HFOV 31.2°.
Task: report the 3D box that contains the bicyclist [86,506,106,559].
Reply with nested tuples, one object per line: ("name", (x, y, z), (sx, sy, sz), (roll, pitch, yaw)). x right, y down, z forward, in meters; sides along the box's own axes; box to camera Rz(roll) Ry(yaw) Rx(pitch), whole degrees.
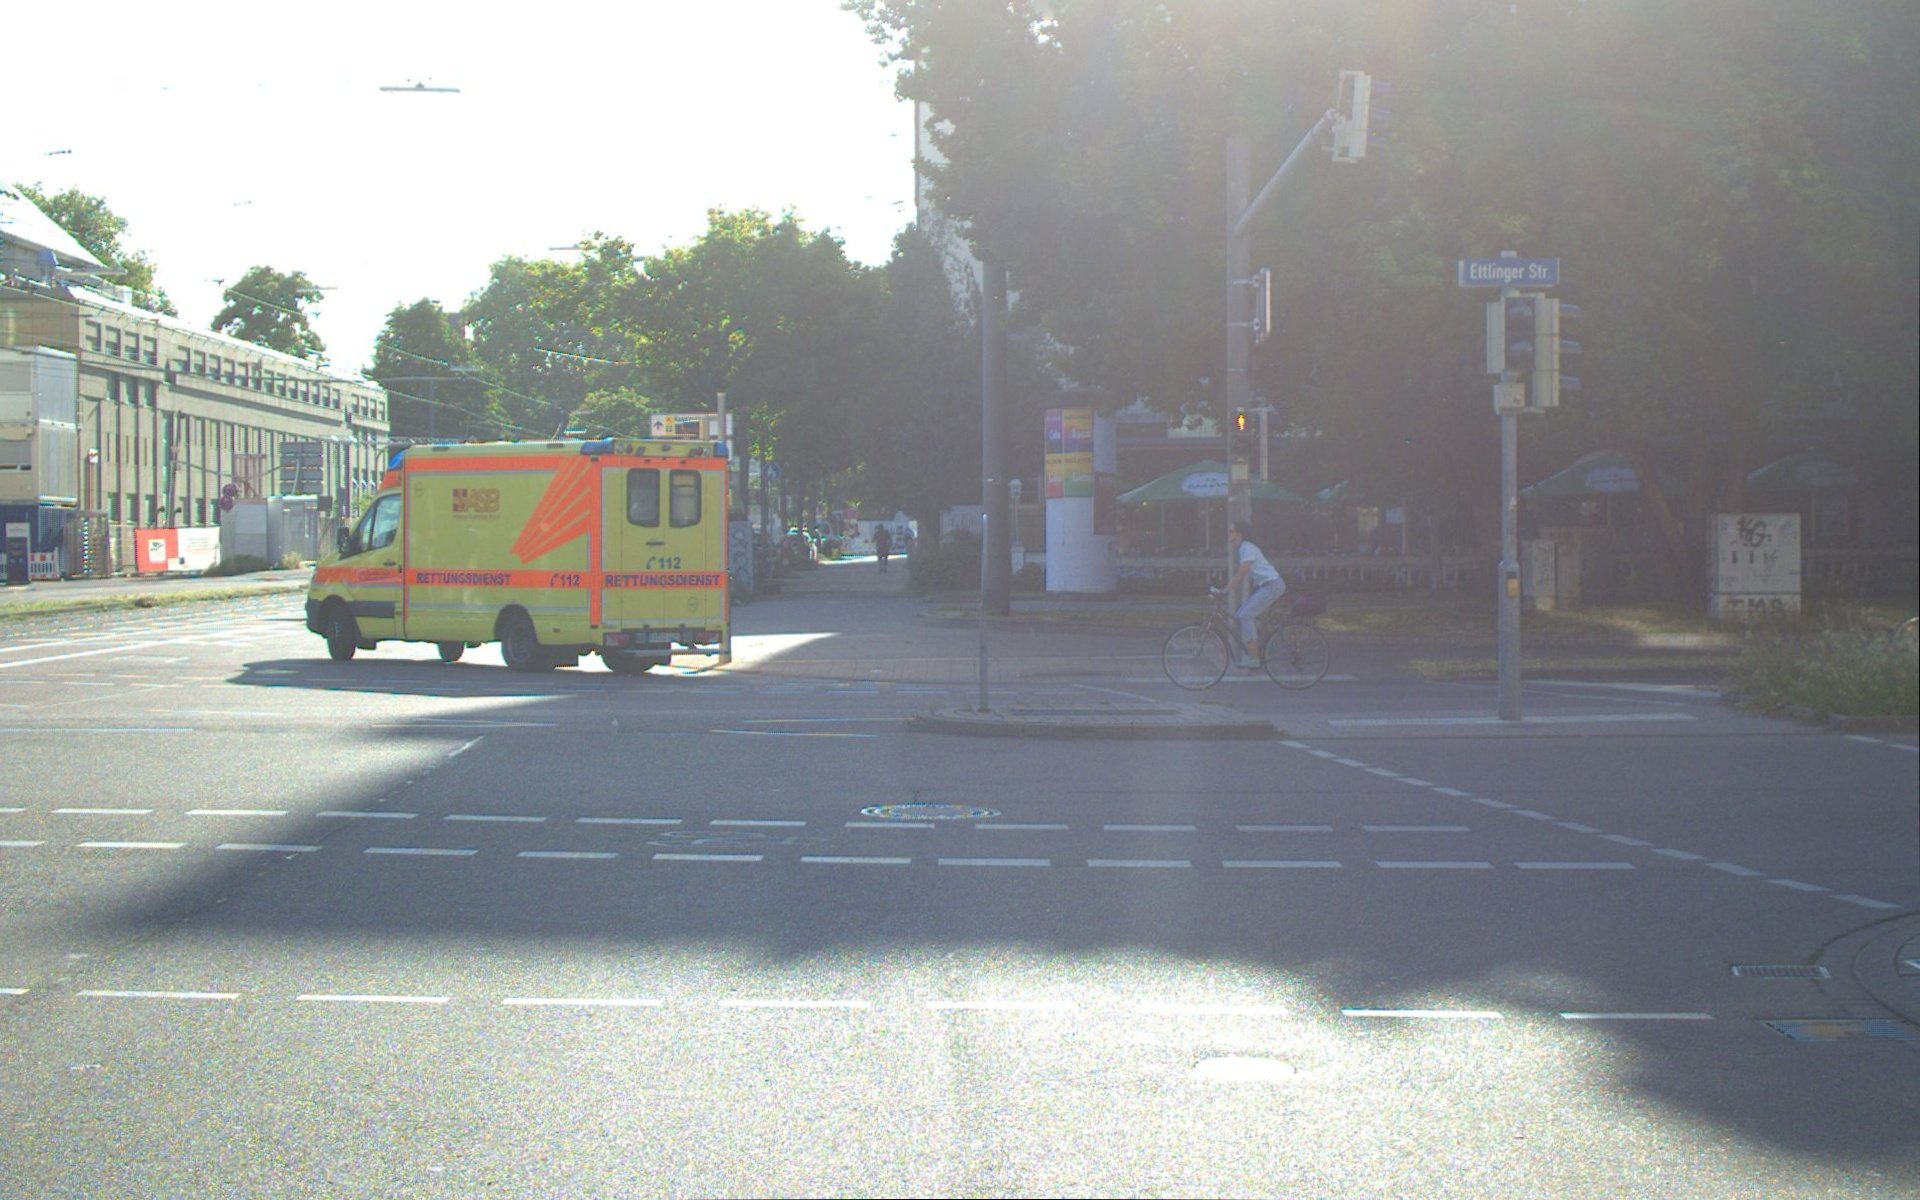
("bicyclist", (-32.715, -2.552, 130.114), (0.571, 2.017, 0.762), (0, 1, -2))

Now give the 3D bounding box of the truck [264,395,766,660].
("truck", (-5.579, -0.877, 42.341), (6.485, 3.005, 2.718), (1, 1, 45))

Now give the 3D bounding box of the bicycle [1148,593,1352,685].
("bicycle", (3.011, 0.402, 35.797), (2.064, 0.930, 0.575), (-1, 1, -1))

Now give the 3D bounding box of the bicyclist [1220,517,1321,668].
("bicyclist", (3.227, -0.084, 35.800), (0.974, 1.555, 0.575), (0, 1, -1))

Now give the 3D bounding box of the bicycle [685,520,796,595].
("bicycle", (-5.184, -0.998, 81.371), (2.547, 1.737, 1.037), (1, 0, 0))

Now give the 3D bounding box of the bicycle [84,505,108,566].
("bicycle", (-32.711, -2.437, 130.172), (0.571, 2.288, 1.422), (0, 1, -2))

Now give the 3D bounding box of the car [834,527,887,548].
("car", (-6.092, -3.840, 211.226), (3.217, 1.259, 1.373), (1, 0, 0))

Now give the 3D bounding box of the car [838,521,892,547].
("car", (-5.905, -4.082, 213.435), (3.214, 1.583, 1.446), (1, 0, -4))

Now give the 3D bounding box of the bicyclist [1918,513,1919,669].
("bicyclist", (10.575, -0.091, 35.746), (1.074, 1.635, 0.597), (0, 1, 3))

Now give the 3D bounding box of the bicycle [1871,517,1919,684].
("bicycle", (10.505, -0.007, 35.755), (1.897, 1.729, 0.597), (0, 1, 3))
